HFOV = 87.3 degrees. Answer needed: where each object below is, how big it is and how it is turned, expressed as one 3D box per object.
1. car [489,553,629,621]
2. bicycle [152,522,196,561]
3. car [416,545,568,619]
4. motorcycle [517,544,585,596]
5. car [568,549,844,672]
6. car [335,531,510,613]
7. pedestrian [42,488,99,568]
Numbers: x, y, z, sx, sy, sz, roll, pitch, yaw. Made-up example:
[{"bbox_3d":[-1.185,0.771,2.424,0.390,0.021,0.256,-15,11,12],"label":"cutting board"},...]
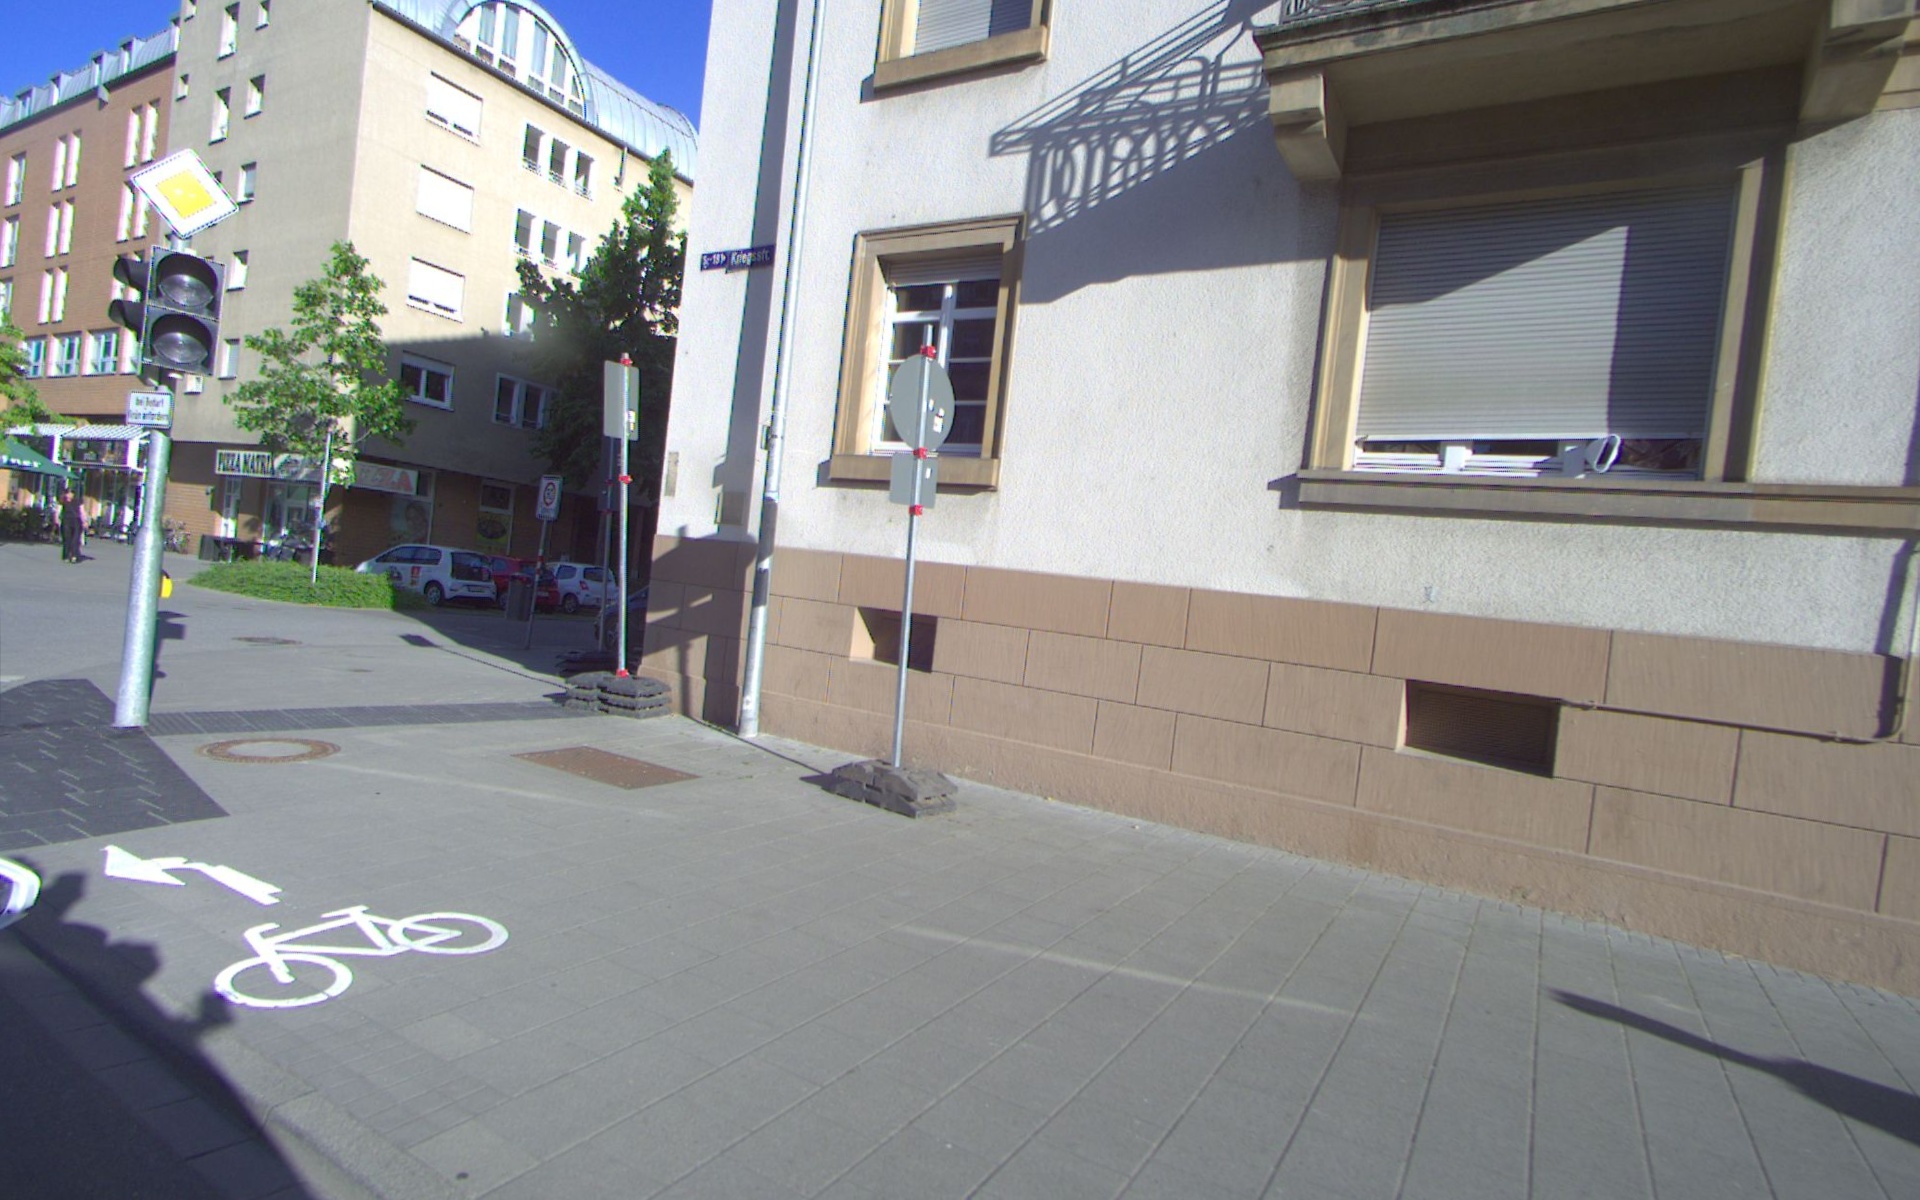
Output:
[{"bbox_3d":[-11.837,-0.390,29.688,3.667,1.472,1.637,7,-2,25],"label":"car"},{"bbox_3d":[-27.733,-2.061,35.480,1.510,1.185,0.614,7,2,29],"label":"bicycle"},{"bbox_3d":[-12.771,-0.485,27.465,3.589,1.469,1.638,7,-2,22],"label":"car"},{"bbox_3d":[-14.783,-1.052,36.411,0.641,1.627,2.262,7,0,28],"label":"motorcycle"},{"bbox_3d":[-4.387,0.178,17.322,4.360,1.705,1.698,4,-3,24],"label":"car"},{"bbox_3d":[-13.525,-0.692,25.320,3.765,1.491,1.669,7,-2,20],"label":"car"},{"bbox_3d":[-21.326,-1.724,24.135,0.879,1.786,1.093,4,2,-39],"label":"pedestrian"}]
